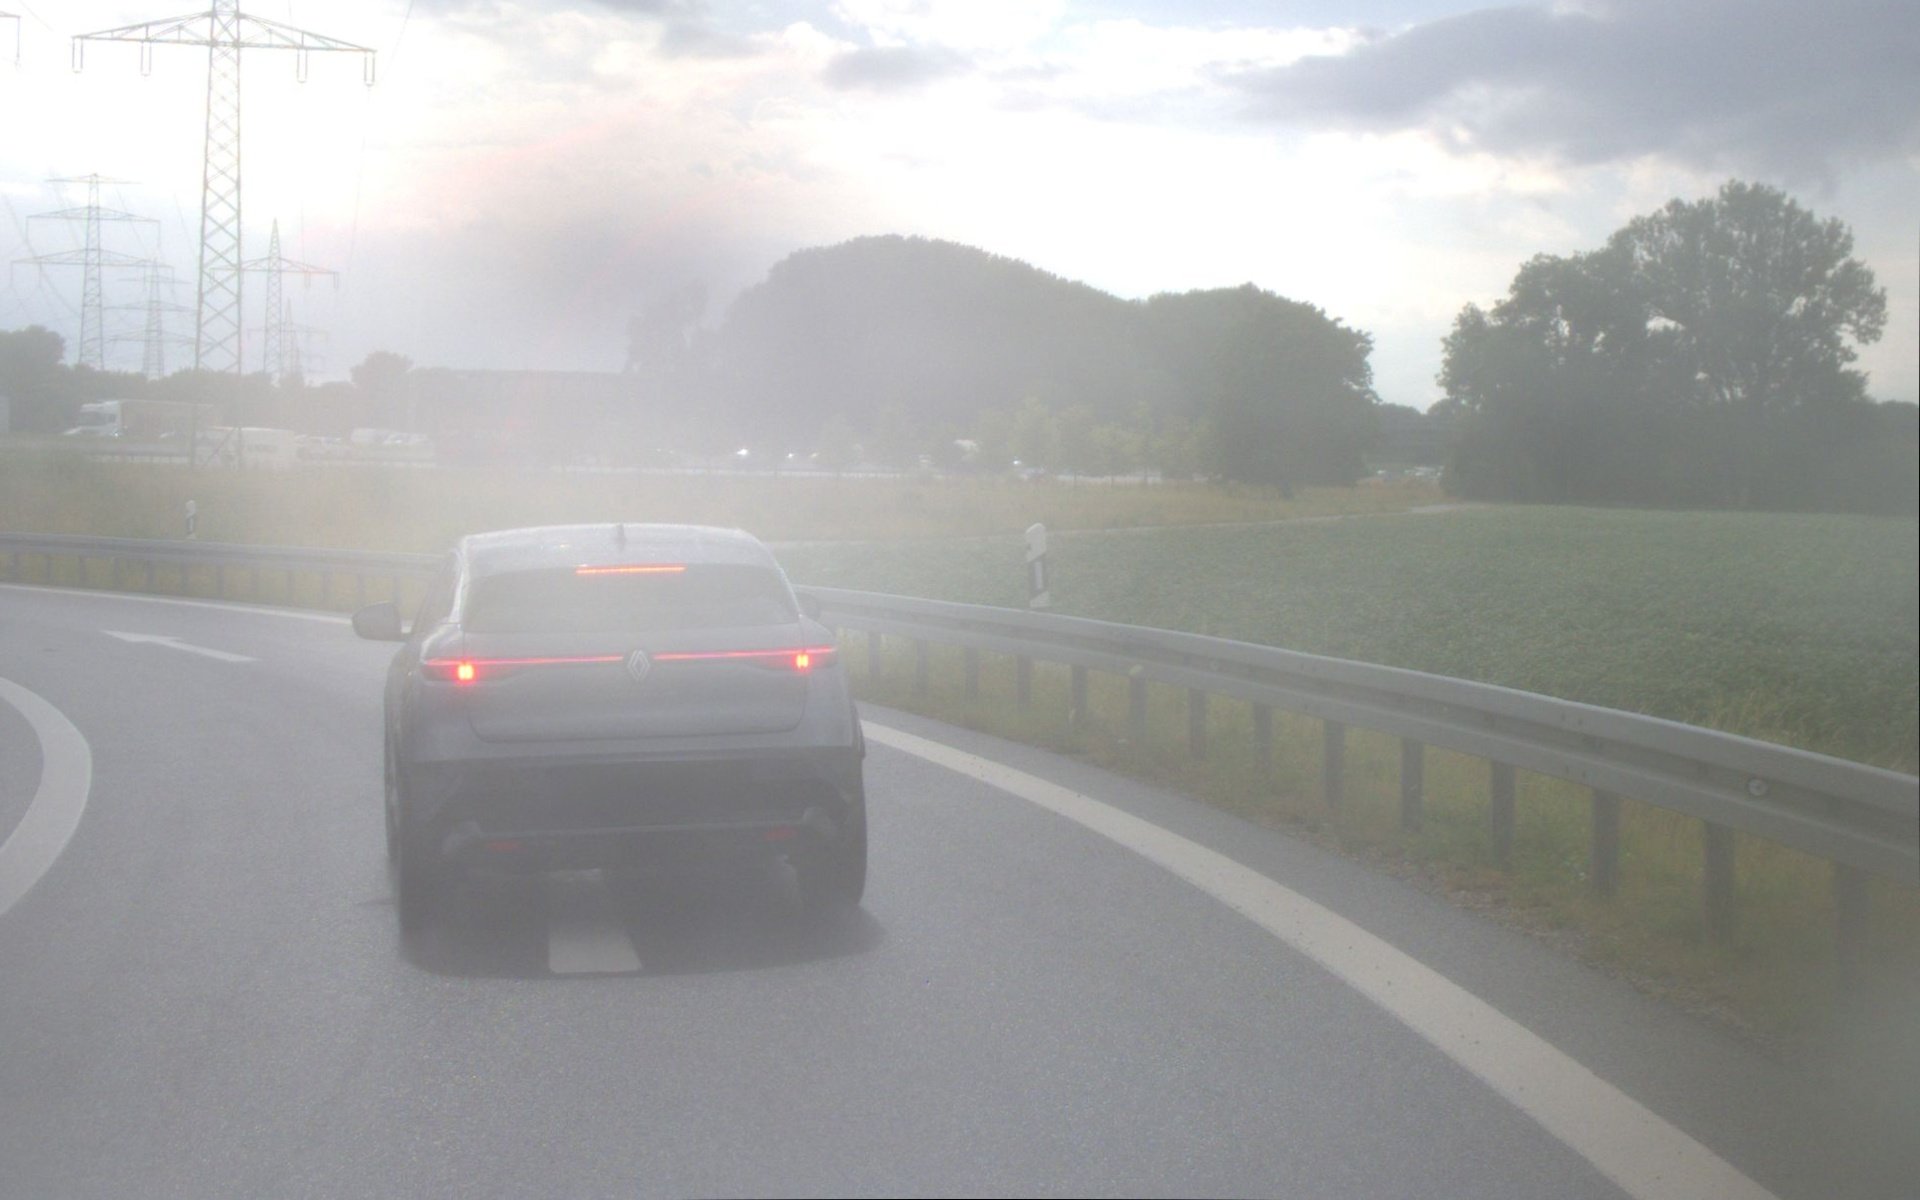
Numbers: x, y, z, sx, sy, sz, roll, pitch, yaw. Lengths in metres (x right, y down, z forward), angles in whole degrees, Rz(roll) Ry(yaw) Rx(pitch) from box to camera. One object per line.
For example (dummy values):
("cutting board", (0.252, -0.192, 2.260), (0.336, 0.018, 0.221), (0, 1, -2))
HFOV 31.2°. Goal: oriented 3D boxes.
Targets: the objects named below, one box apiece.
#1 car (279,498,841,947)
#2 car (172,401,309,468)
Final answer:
("car", (-1.612, 0.384, 14.645), (1.993, 1.561, 4.150), (-2, 2, -4))
("car", (-41.896, -9.605, 200.493), (3.387, 3.598, 9.036), (3, 2, 21))
